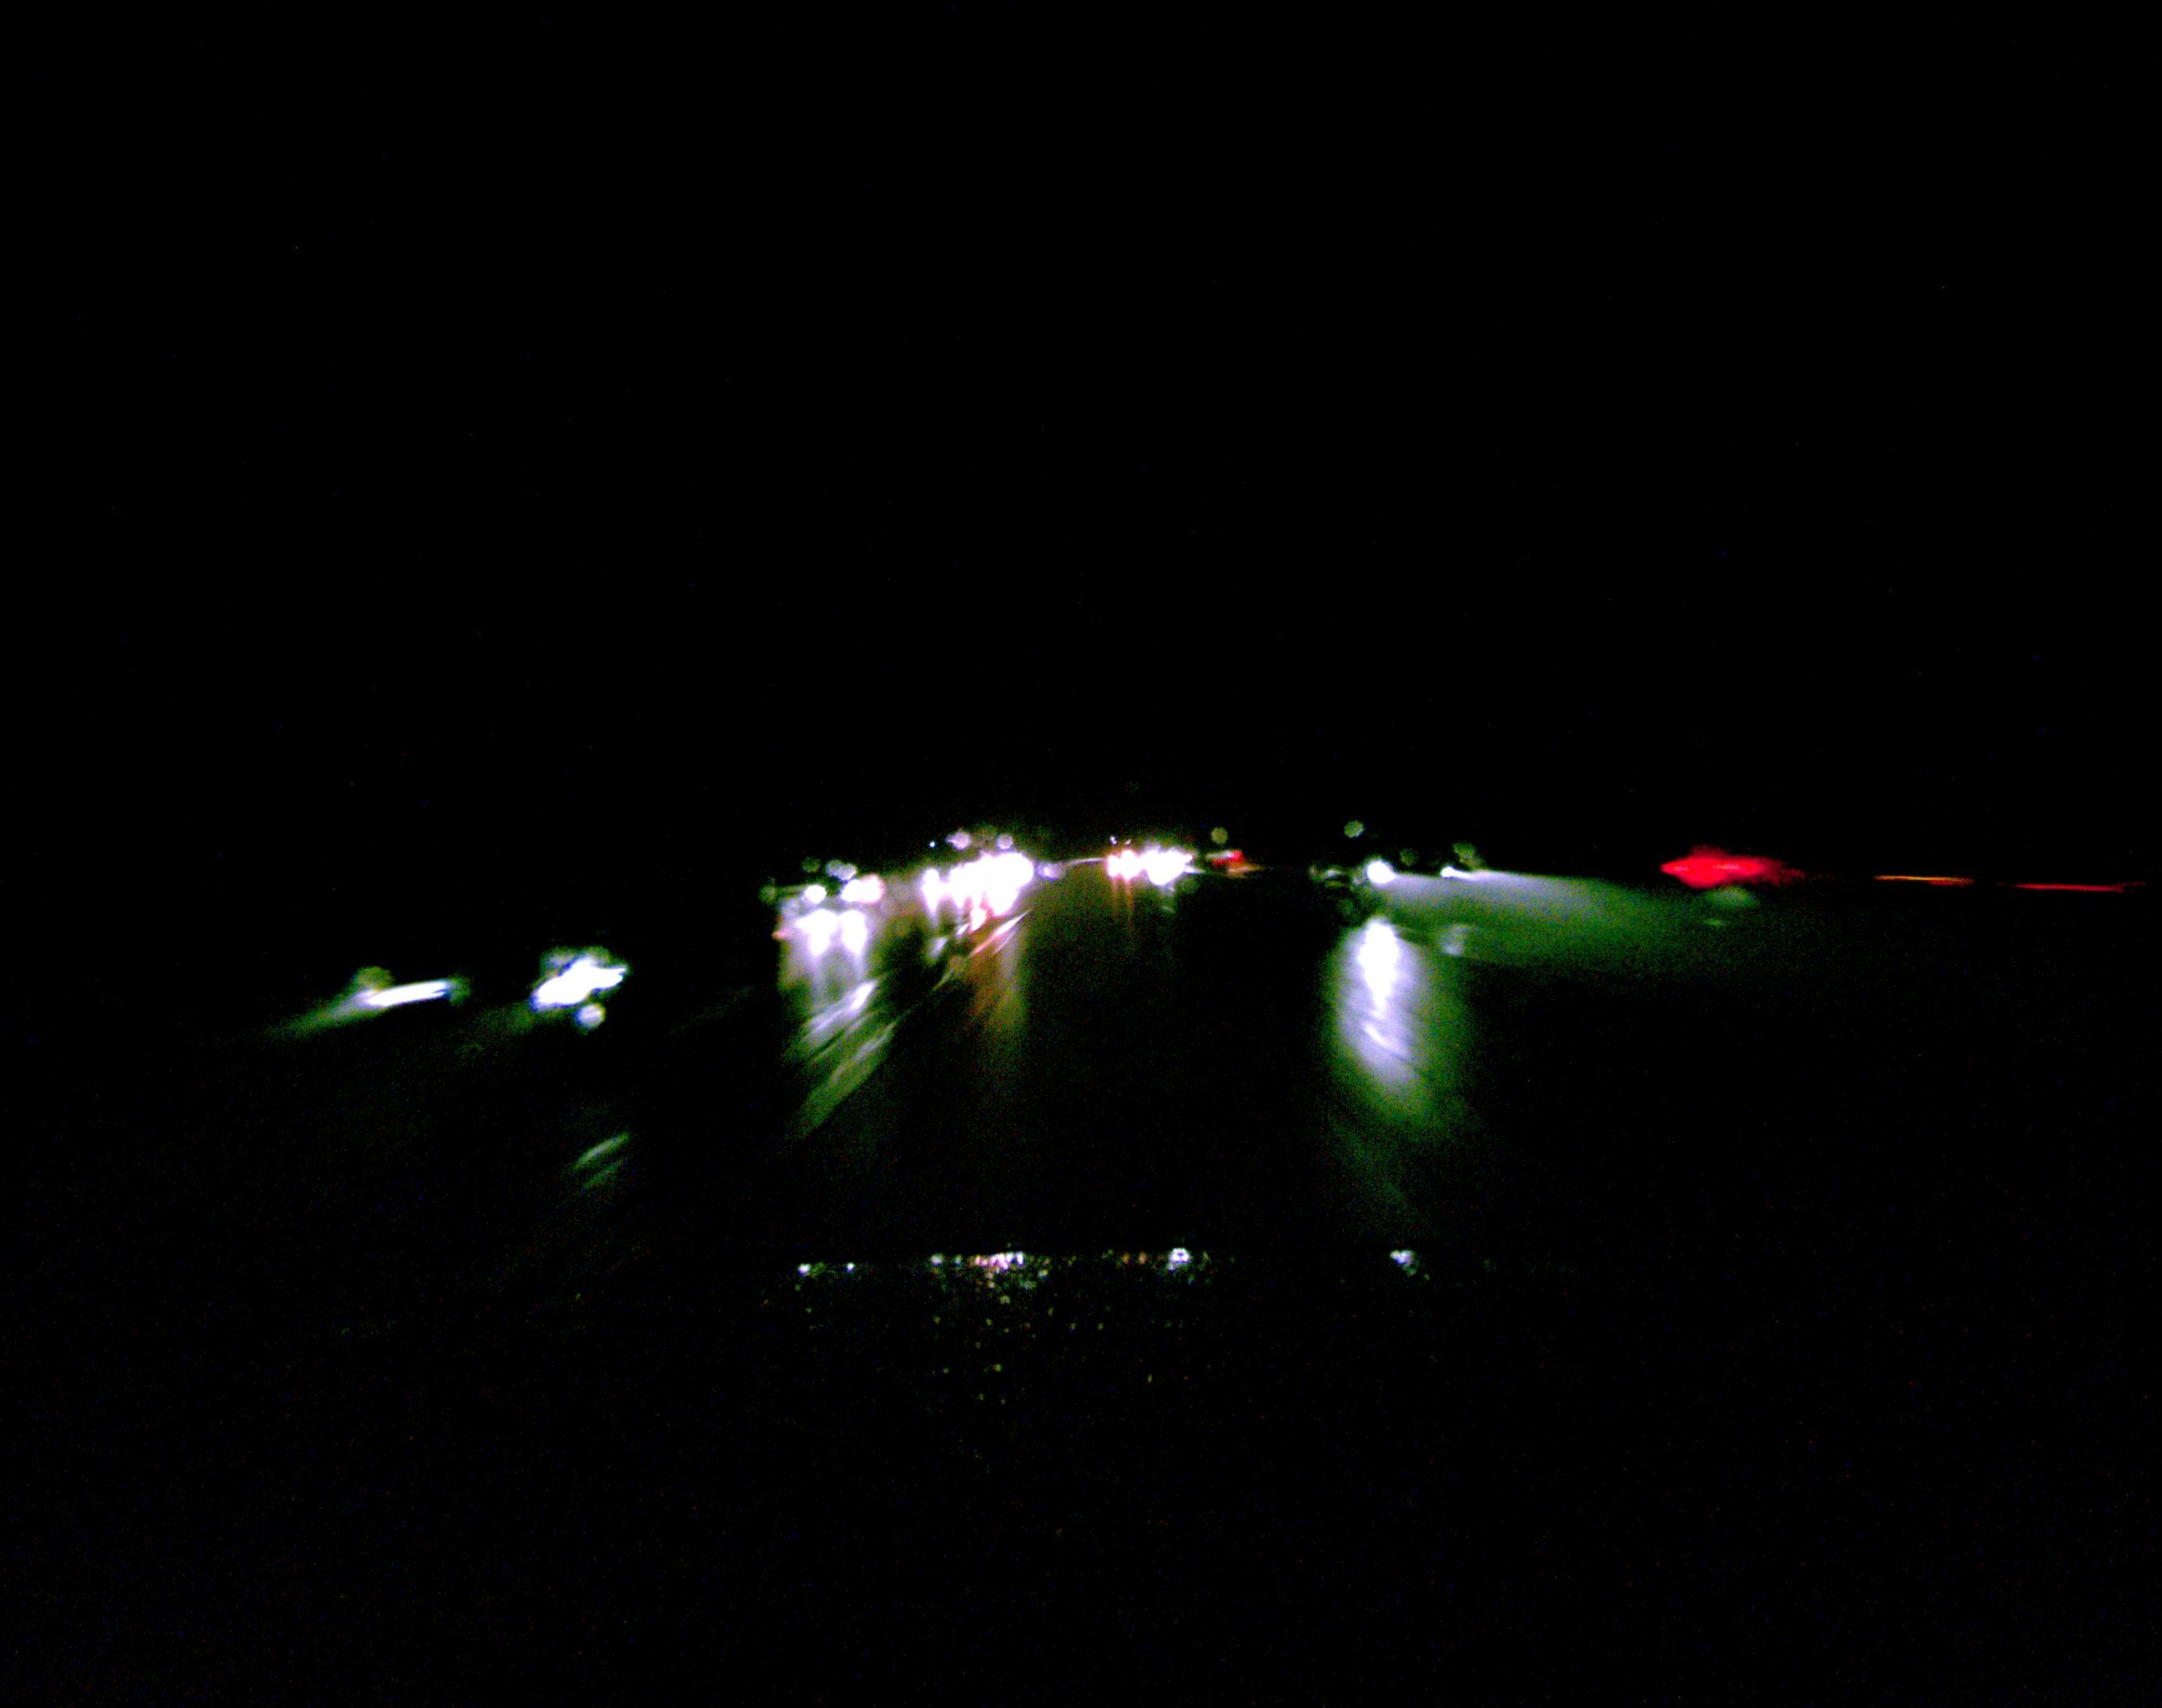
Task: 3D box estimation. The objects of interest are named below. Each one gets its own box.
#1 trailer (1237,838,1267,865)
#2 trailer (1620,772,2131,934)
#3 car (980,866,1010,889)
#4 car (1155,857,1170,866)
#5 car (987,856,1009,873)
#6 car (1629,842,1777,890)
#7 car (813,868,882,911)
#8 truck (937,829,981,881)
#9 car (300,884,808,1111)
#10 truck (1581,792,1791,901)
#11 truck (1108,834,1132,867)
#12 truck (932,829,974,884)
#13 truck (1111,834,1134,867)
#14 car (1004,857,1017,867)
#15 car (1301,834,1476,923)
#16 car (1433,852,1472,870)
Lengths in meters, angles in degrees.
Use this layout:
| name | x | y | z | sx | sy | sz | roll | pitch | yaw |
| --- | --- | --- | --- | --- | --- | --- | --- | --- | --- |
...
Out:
| name | x | y | z | sx | sy | sz | roll | pitch | yaw |
| --- | --- | --- | --- | --- | --- | --- | --- | --- | --- |
| trailer | 30.095 | -0.566 | 134.367 | 2.554 | 4.518 | 13.915 | 1 | 2 | 2 |
| trailer | 24.766 | -0.222 | 25.958 | 2.820 | 3.976 | 13.926 | 1 | 2 | 1 |
| car | -5.242 | 1.412 | 46.526 | 1.712 | 1.286 | 3.990 | 1 | -1 | -5 |
| car | 11.979 | 1.121 | 112.067 | 1.711 | 1.286 | 3.991 | 1 | -1 | -1 |
| car | -6.828 | 0.881 | 63.103 | 1.712 | 1.286 | 3.990 | 1 | -1 | -5 |
| car | 19.225 | 0.312 | 23.711 | 1.618 | 1.292 | 3.701 | 1 | 2 | 2 |
| car | -9.178 | 1.344 | 30.151 | 1.794 | 1.477 | 4.326 | -2 | 0 | -7 |
| truck | -10.875 | -0.155 | 68.956 | 2.766 | 4.199 | 13.816 | 1 | 2 | -4 |
| car | -4.698 | 1.154 | 7.797 | 1.998 | 1.440 | 4.336 | -2 | 0 | 3 |
| truck | 24.849 | -0.391 | 31.867 | 2.820 | 3.984 | 7.347 | 1 | 2 | 1 |
| truck | 5.465 | -0.664 | 108.534 | 2.503 | 4.224 | 13.637 | 1 | 2 | -1 |
| truck | -10.349 | 0.069 | 61.834 | 2.766 | 4.199 | 6.190 | 1 | 2 | -4 |
| truck | 5.553 | -0.480 | 102.347 | 2.504 | 4.224 | 5.979 | 1 | 2 | -1 |
| car | -9.429 | 1.077 | 102.188 | 1.712 | 1.286 | 3.990 | 1 | -1 | -5 |
| car | 7.427 | 0.456 | 19.166 | 2.142 | 1.874 | 5.553 | 1 | 2 | 0 |
| car | 31.392 | 0.585 | 64.302 | 1.618 | 1.292 | 3.701 | 1 | 2 | 2 |
